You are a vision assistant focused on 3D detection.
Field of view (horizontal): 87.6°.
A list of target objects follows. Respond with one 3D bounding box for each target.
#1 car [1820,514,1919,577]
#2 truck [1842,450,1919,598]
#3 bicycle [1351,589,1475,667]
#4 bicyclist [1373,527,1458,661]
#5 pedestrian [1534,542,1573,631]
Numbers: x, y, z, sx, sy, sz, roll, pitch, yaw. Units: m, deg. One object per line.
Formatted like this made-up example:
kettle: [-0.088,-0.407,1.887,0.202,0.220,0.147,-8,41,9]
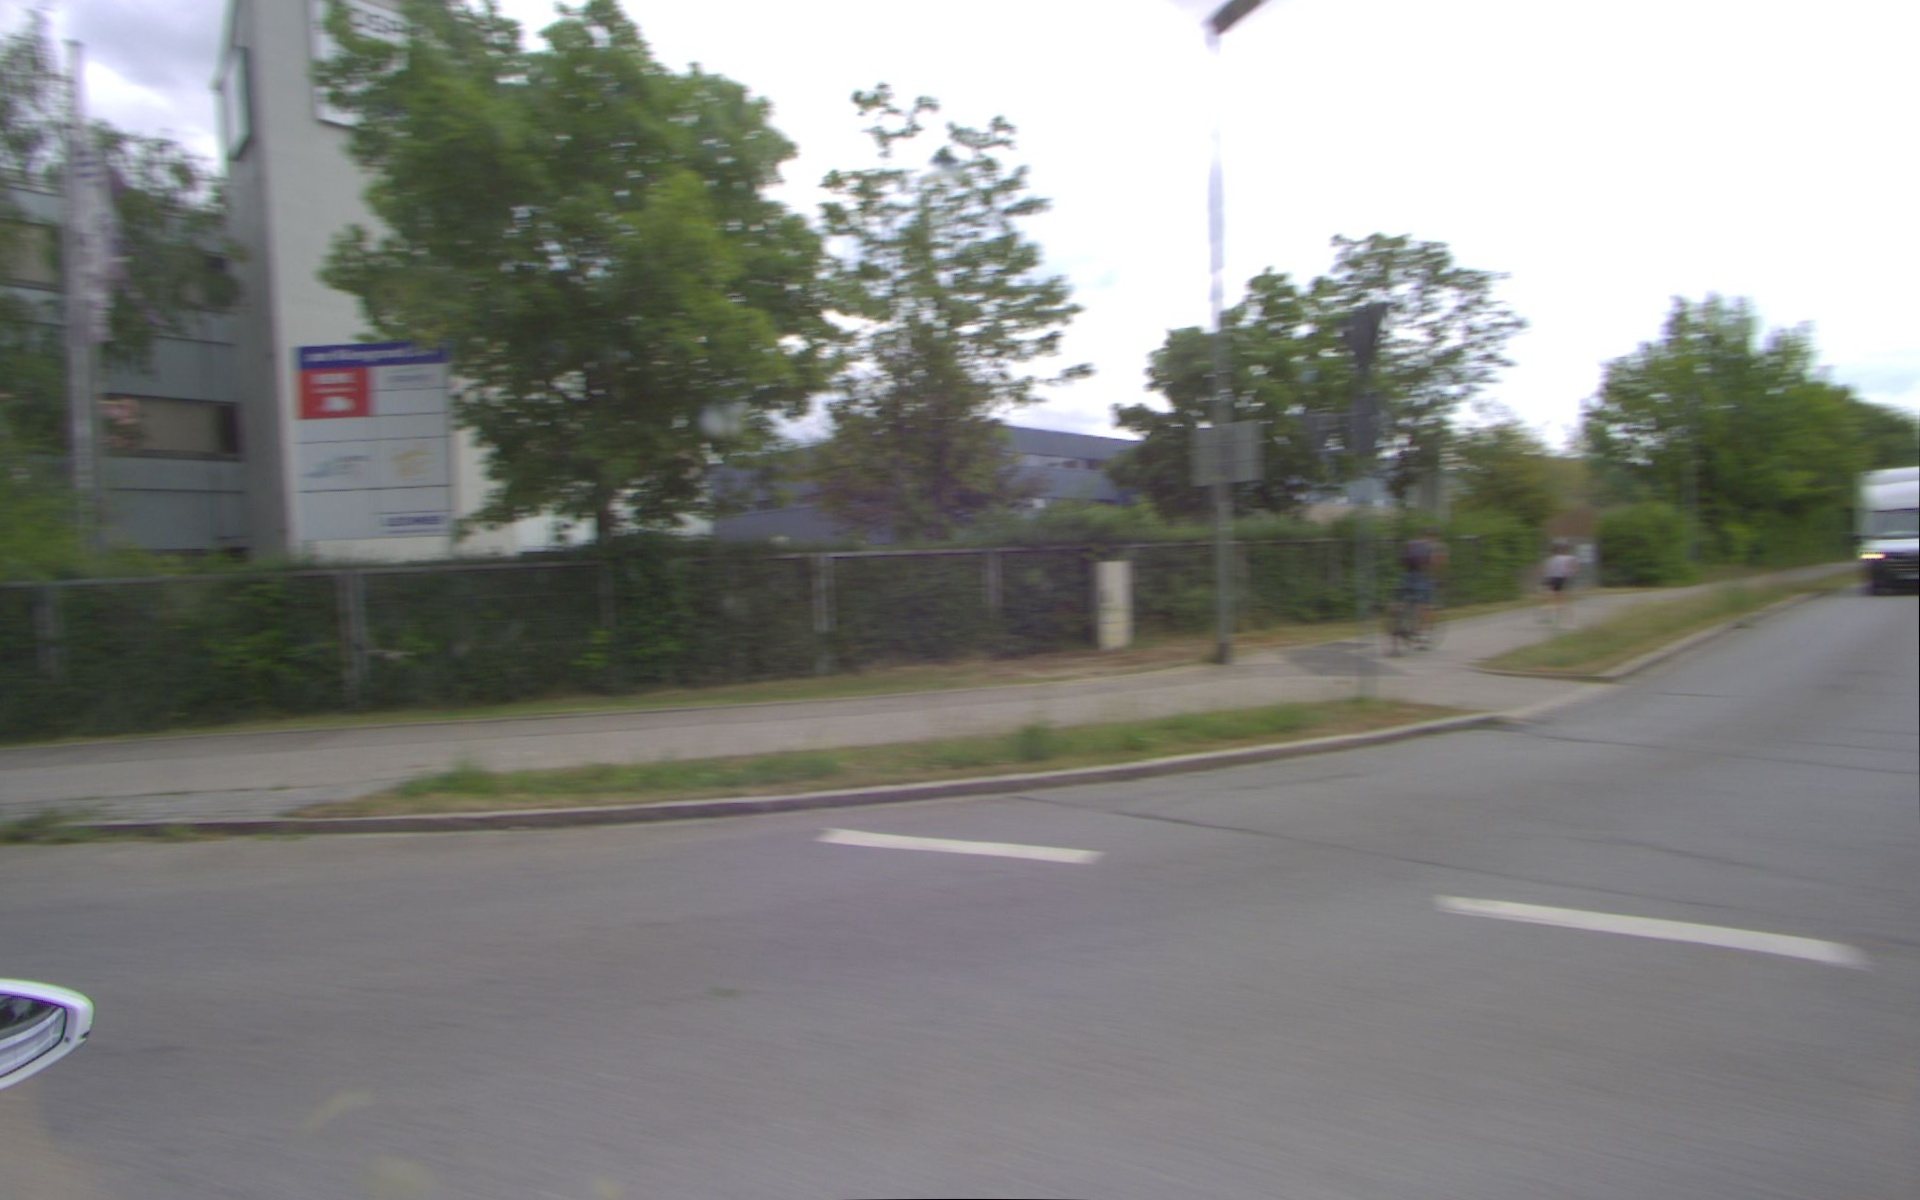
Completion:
car: [35.474,-2.116,38.958,5.666,2.154,2.591,-3,1,-45]
truck: [25.602,-1.994,26.682,7.431,3.494,2.591,-4,1,-45]
bicycle: [6.449,0.347,14.183,0.954,0.888,2.475,3,5,40]
bicyclist: [6.437,-0.114,14.151,0.802,1.813,0.970,4,5,40]
pedestrian: [10.688,-0.240,18.017,0.538,1.551,0.838,0,2,36]
